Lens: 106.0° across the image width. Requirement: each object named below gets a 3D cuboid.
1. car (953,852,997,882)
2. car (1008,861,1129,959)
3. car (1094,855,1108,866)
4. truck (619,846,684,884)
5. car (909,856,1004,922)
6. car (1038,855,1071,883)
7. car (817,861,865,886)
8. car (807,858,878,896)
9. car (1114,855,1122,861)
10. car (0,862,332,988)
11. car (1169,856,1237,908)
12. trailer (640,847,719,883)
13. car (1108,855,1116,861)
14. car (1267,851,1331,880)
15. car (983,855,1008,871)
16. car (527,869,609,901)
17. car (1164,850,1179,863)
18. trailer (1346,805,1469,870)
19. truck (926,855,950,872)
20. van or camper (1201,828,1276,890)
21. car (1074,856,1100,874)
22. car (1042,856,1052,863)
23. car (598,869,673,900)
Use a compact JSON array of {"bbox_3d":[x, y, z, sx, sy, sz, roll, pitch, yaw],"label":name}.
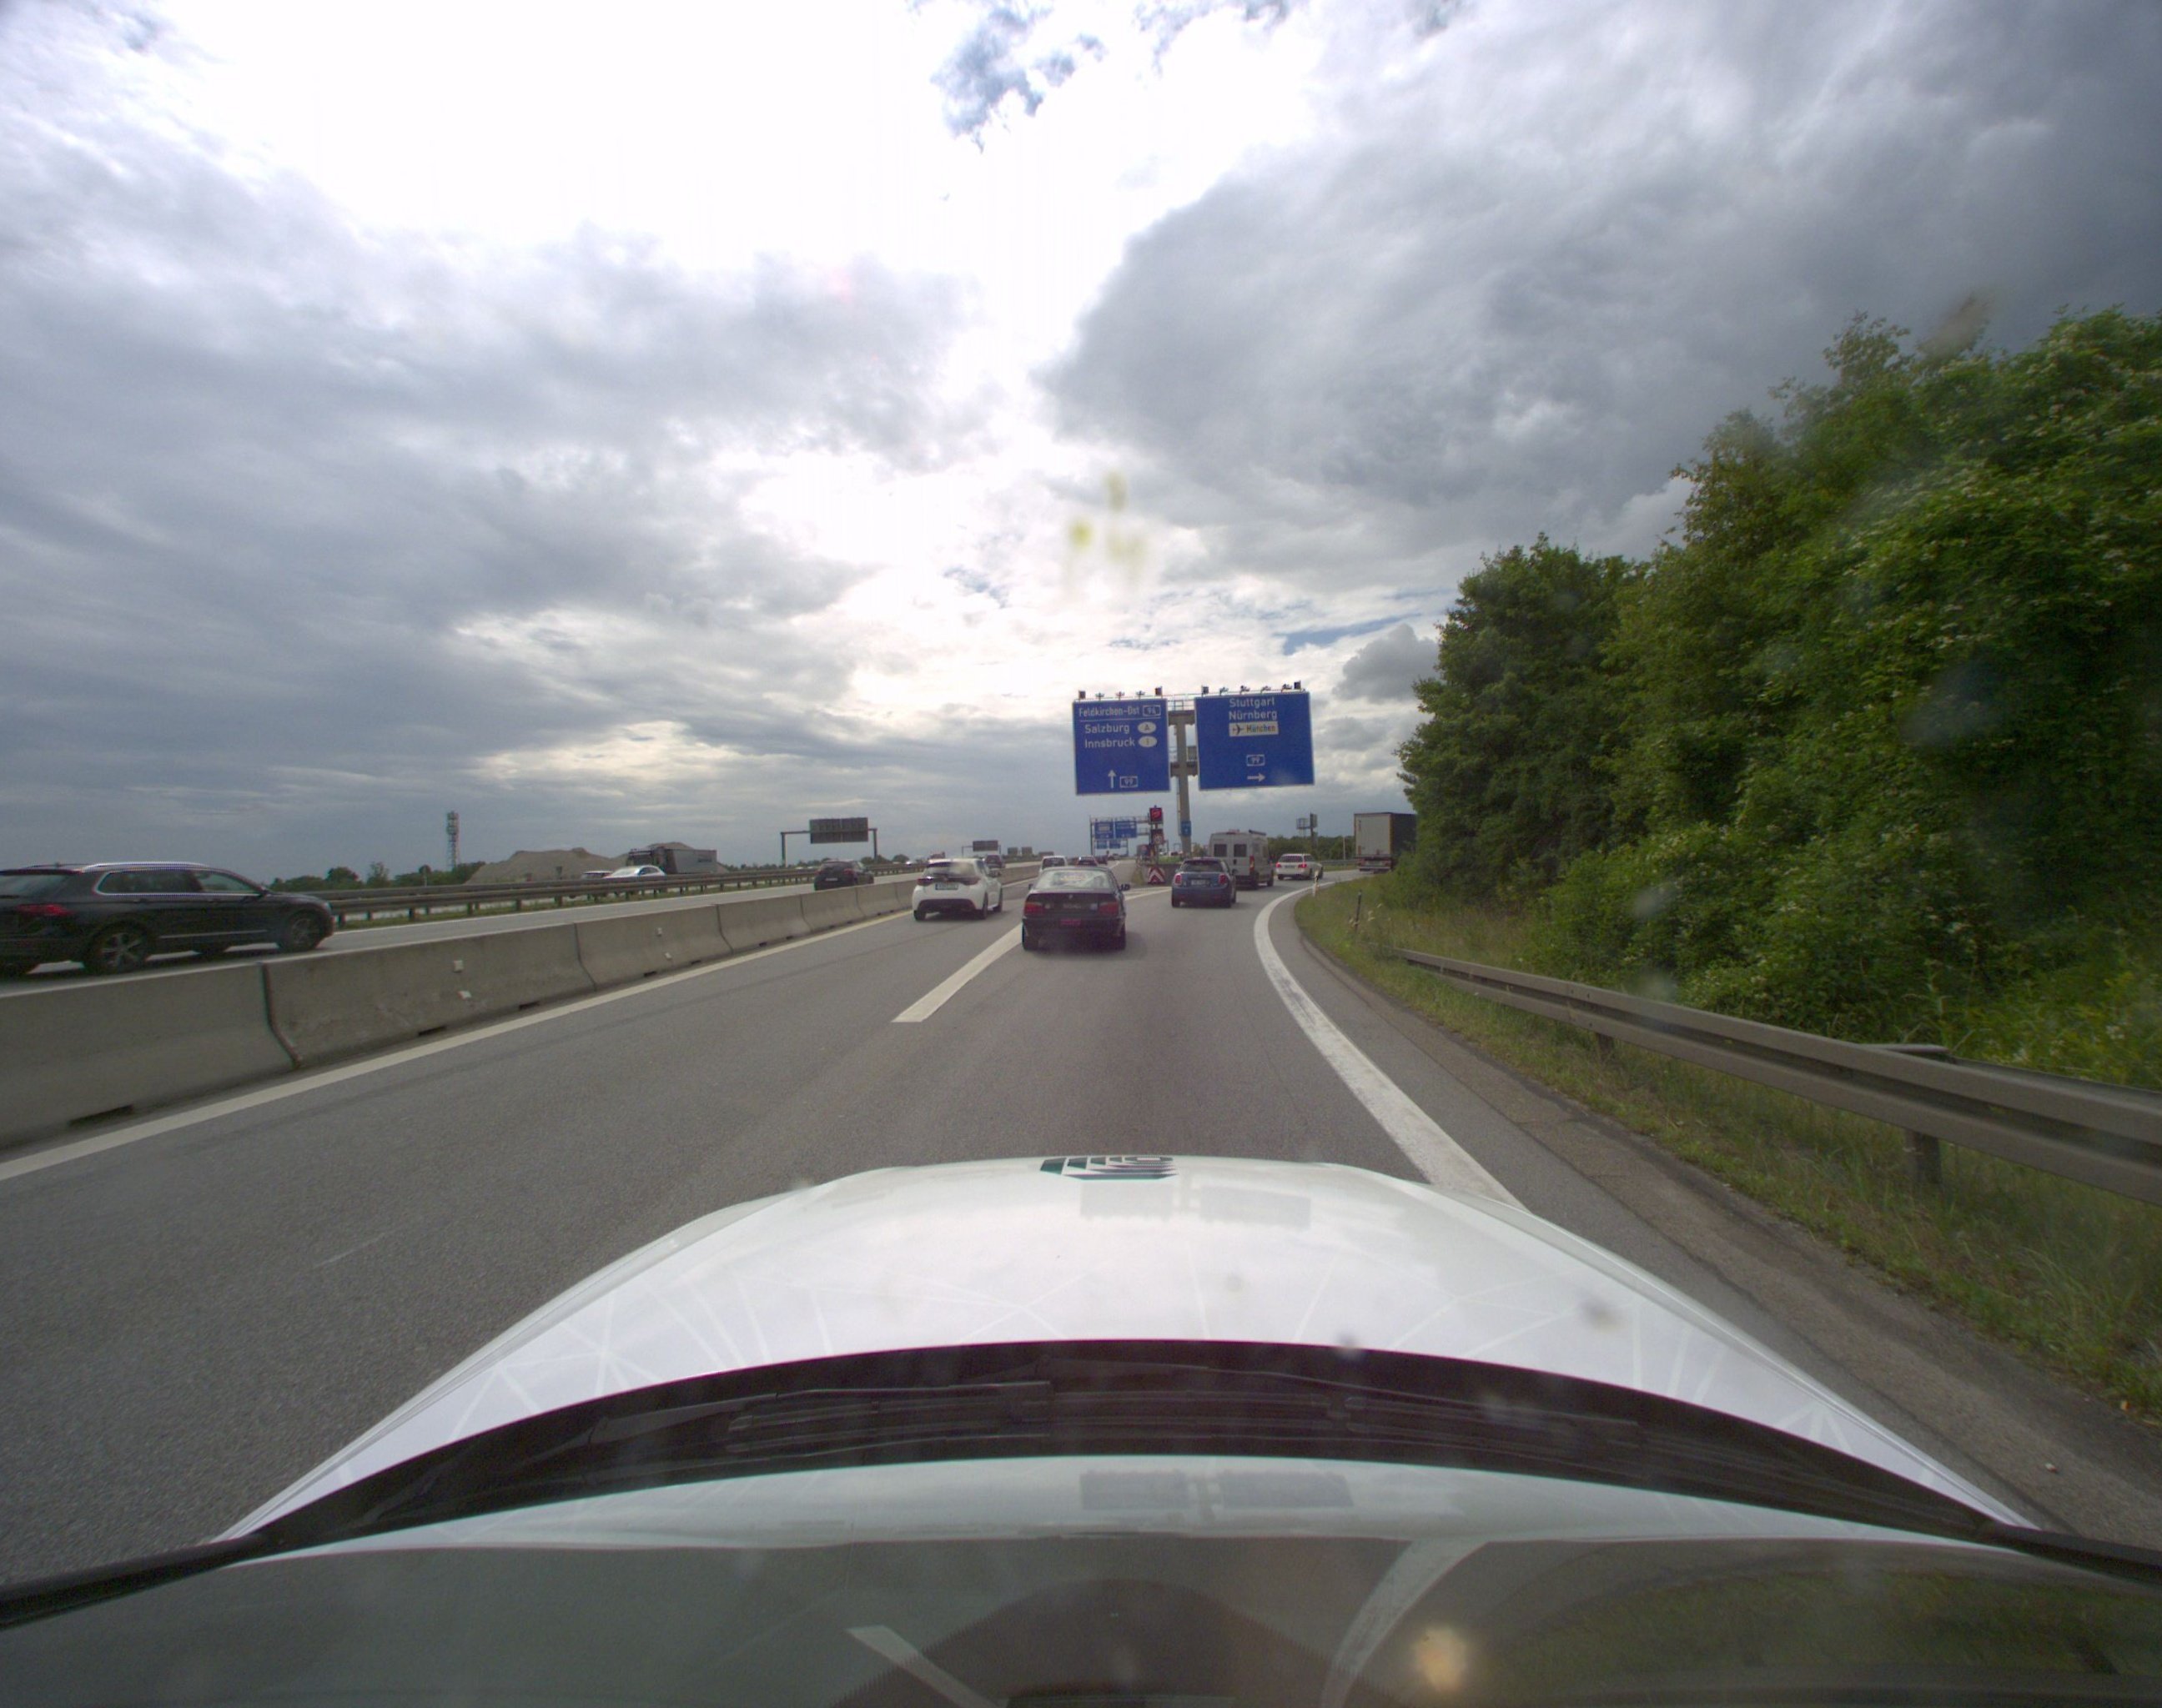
[{"bbox_3d":[-6.558,0.783,50.773,1.986,1.706,4.002,-1,0,2],"label":"car"},{"bbox_3d":[-0.084,0.860,14.267,1.775,1.378,4.140,-1,0,3],"label":"car"},{"bbox_3d":[2.857,0.854,114.407,1.858,1.424,4.003,-1,0,3],"label":"car"},{"bbox_3d":[-39.594,1.019,75.331,3.142,3.330,5.618,-1,0,-2],"label":"truck"},{"bbox_3d":[-3.085,0.820,20.941,1.694,1.508,3.842,-1,0,2],"label":"car"},{"bbox_3d":[-1.478,0.844,46.449,1.579,1.484,3.537,-1,0,3],"label":"car"},{"bbox_3d":[-14.210,1.137,48.410,1.547,1.376,4.001,-1,0,1],"label":"car"},{"bbox_3d":[-10.387,0.956,35.787,1.767,1.530,4.002,-2,0,2],"label":"car"},{"bbox_3d":[9.410,0.977,207.186,1.795,1.424,4.004,-1,0,4],"label":"car"},{"bbox_3d":[-14.898,0.976,12.992,1.894,1.638,4.235,-1,0,2],"label":"car"},{"bbox_3d":[3.755,0.780,24.582,1.717,1.419,3.679,-1,0,13],"label":"car"},{"bbox_3d":[-39.822,1.041,81.232,3.189,3.269,9.816,-1,0,-2],"label":"trailer"},{"bbox_3d":[7.076,0.859,184.646,1.795,1.424,4.004,-1,0,4],"label":"car"},{"bbox_3d":[12.598,0.635,46.881,2.185,1.501,4.817,-2,0,32],"label":"car"},{"bbox_3d":[-9.375,0.928,89.470,1.986,1.683,4.869,-1,0,2],"label":"car"},{"bbox_3d":[-26.724,1.573,42.589,1.682,1.469,4.003,-2,0,0],"label":"car"},{"bbox_3d":[15.027,0.419,135.015,1.987,2.013,4.000,-1,0,1],"label":"car"},{"bbox_3d":[23.613,-1.107,58.283,3.300,4.193,13.108,-1,0,45],"label":"trailer"},{"bbox_3d":[-21.170,1.361,120.776,2.268,2.370,6.202,-1,0,1],"label":"truck"},{"bbox_3d":[7.287,0.199,37.066,2.274,2.568,6.192,-2,0,20],"label":"van or camper"},{"bbox_3d":[0.562,0.962,72.251,1.984,1.468,4.006,-1,0,6],"label":"car"},{"bbox_3d":[-7.650,1.324,183.655,1.985,1.468,4.004,-1,0,4],"label":"car"},{"bbox_3d":[-23.056,1.559,42.353,1.682,1.469,4.003,-1,0,0],"label":"car"}]
